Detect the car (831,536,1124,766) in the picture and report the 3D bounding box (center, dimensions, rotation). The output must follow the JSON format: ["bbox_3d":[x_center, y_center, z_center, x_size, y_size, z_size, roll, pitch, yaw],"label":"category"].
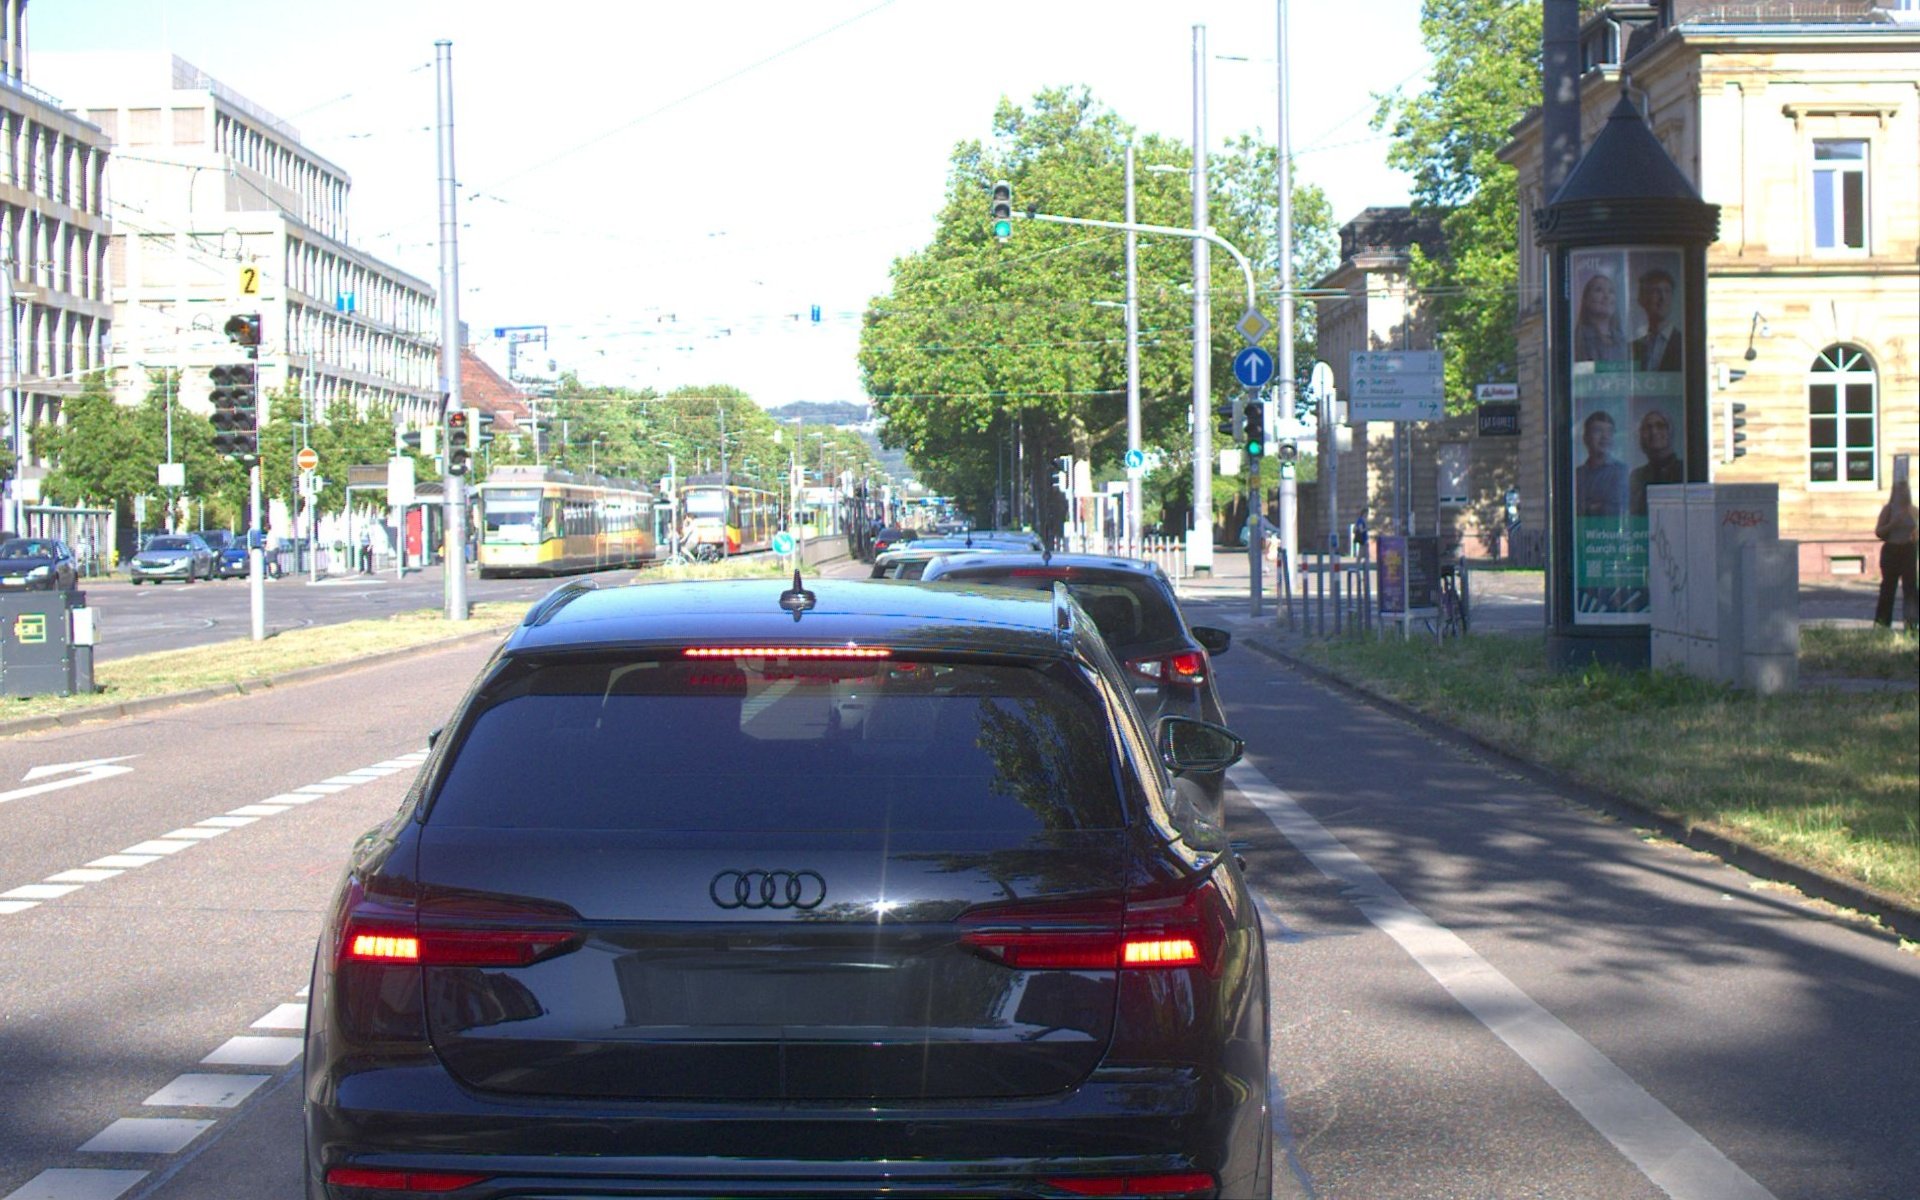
[{"bbox_3d":[0.121,0.303,24.528,1.902,1.481,4.144,1,1,0],"label":"car"}]

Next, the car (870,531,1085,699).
[{"bbox_3d":[0.162,0.107,32.764,1.902,1.481,4.144,1,1,0],"label":"car"}]

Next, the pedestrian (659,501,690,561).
[{"bbox_3d":[-8.268,-2.009,99.715,0.739,1.735,0.664,-1,1,-18],"label":"pedestrian"}]

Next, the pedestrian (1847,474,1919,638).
[{"bbox_3d":[9.977,-0.476,36.630,0.769,1.703,1.042,-1,1,1],"label":"pedestrian"}]

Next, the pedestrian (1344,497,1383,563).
[{"bbox_3d":[11.496,-1.989,97.986,0.979,1.859,0.827,-1,1,0],"label":"pedestrian"}]

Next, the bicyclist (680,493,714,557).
[{"bbox_3d":[-7.517,-2.143,98.178,0.756,1.812,0.765,-1,1,-20],"label":"bicyclist"}]

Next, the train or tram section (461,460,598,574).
[{"bbox_3d":[-13.871,-2.697,111.911,2.813,3.477,13.205,-1,1,0],"label":"train or tram section"}]

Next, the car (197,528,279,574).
[{"bbox_3d":[-23.752,-1.634,113.219,1.820,1.452,4.157,-1,1,-1],"label":"car"}]

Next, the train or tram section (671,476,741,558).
[{"bbox_3d":[-11.079,-3.647,150.788,2.608,3.439,11.134,-1,1,-2],"label":"train or tram section"}]

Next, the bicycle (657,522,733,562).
[{"bbox_3d":[-7.568,-1.670,98.164,2.005,1.104,0.765,-1,1,-20],"label":"bicycle"}]

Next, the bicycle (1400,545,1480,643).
[{"bbox_3d":[5.444,-0.080,39.036,0.540,1.058,1.772,-1,1,-4],"label":"bicycle"}]

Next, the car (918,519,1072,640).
[{"bbox_3d":[0.445,-0.280,44.759,1.902,1.481,4.144,1,1,0],"label":"car"}]

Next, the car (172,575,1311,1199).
[{"bbox_3d":[-0.363,0.676,7.848,1.902,1.417,4.144,1,1,0],"label":"car"}]

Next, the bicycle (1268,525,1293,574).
[{"bbox_3d":[7.682,-1.215,82.430,0.434,1.141,1.340,-1,1,-2],"label":"bicycle"}]

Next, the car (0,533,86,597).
[{"bbox_3d":[-21.899,-0.836,80.799,1.820,1.452,4.166,-1,1,-3],"label":"car"}]

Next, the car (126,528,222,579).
[{"bbox_3d":[-23.431,-1.401,102.604,1.820,1.452,4.541,-1,1,-1],"label":"car"}]

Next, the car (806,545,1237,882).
[{"bbox_3d":[0.282,0.475,17.363,1.902,1.481,4.144,1,1,0],"label":"car"}]

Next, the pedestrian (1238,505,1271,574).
[{"bbox_3d":[7.056,-1.450,82.411,0.682,1.655,0.758,-1,1,-2],"label":"pedestrian"}]
